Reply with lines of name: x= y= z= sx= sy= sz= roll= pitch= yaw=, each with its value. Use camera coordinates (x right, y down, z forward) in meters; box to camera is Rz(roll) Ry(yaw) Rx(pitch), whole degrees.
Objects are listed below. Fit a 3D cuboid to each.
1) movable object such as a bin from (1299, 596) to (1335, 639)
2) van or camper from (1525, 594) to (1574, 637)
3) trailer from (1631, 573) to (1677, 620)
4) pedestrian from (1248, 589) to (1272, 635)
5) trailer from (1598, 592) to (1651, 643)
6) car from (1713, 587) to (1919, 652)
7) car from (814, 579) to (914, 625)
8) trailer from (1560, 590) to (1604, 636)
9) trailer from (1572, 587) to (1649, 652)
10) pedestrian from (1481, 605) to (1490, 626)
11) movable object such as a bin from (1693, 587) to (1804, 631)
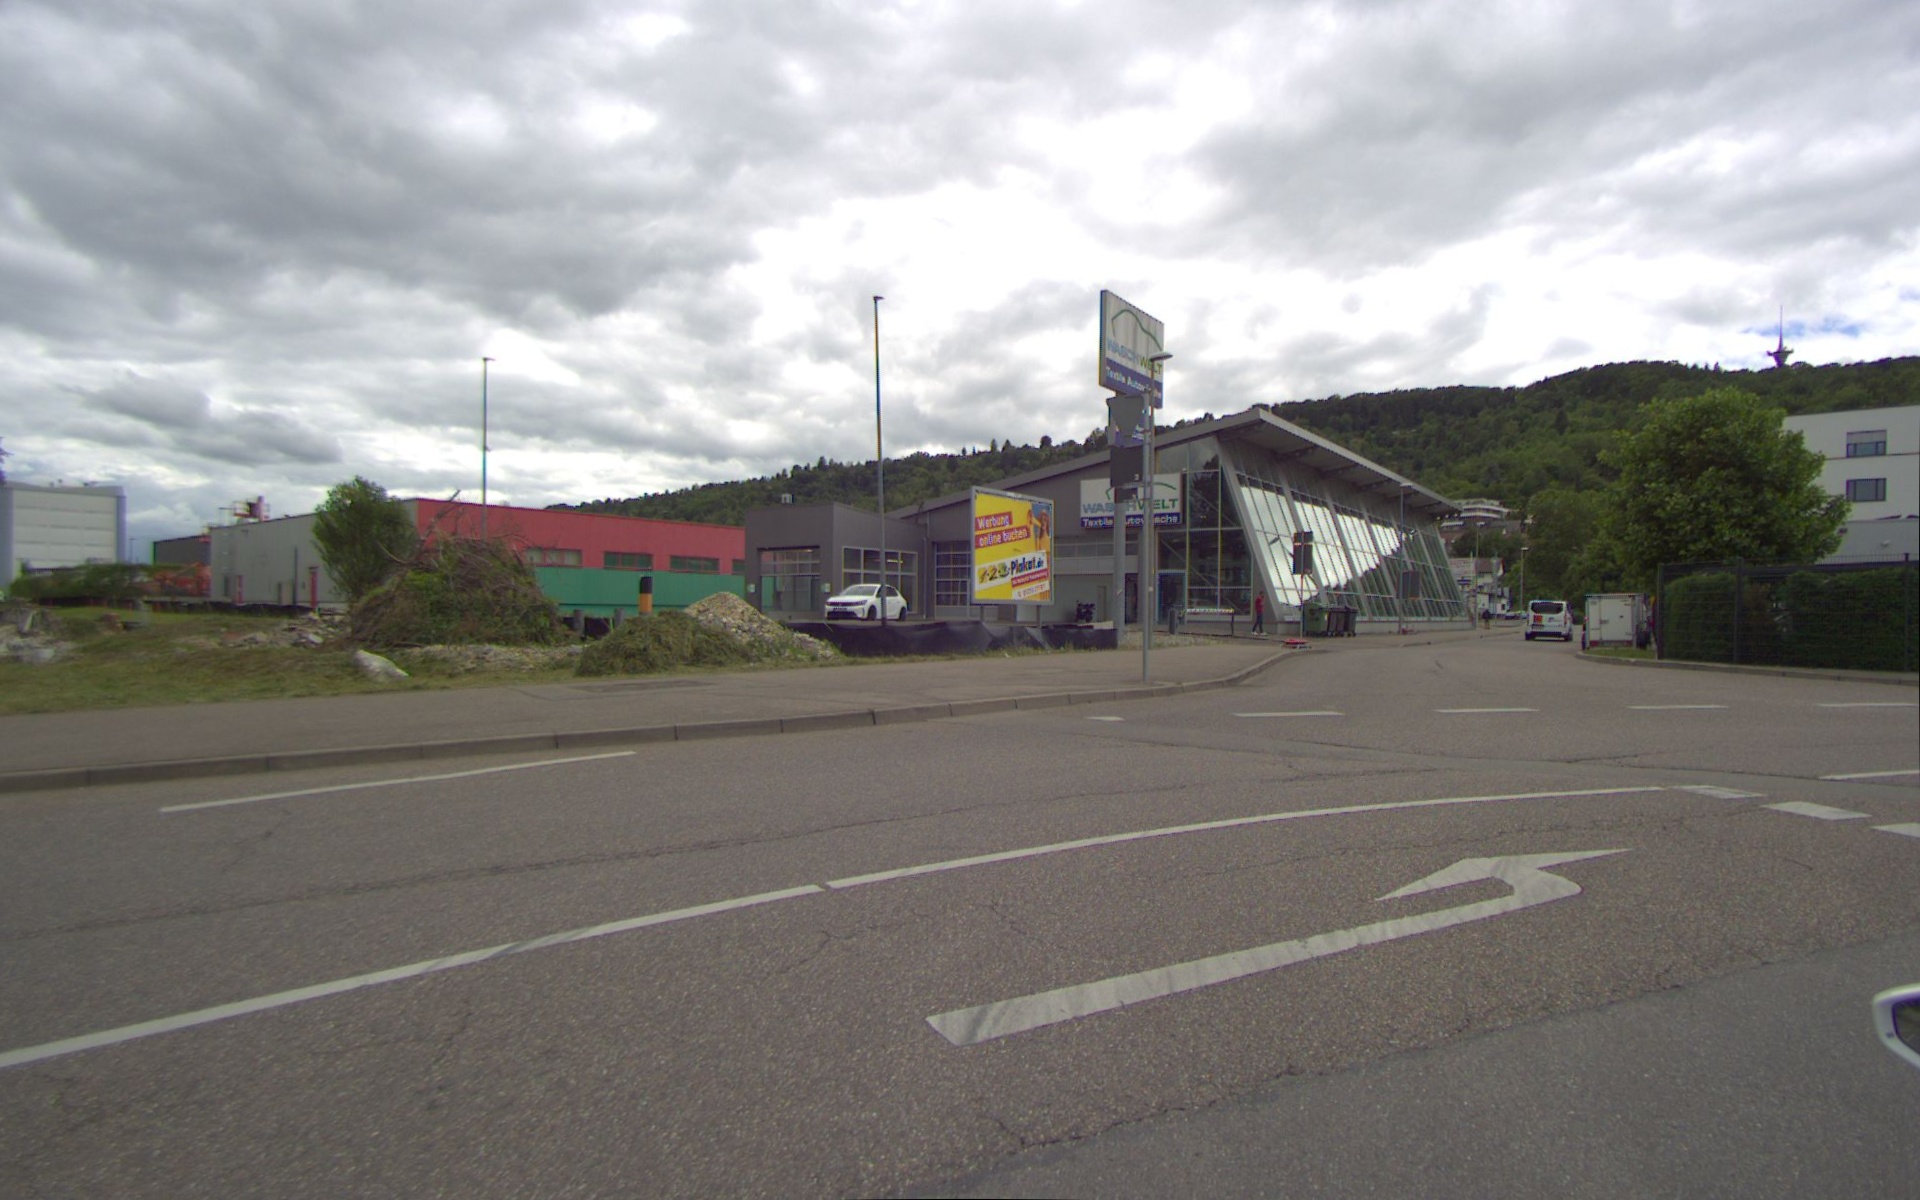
movable object such as a bin: x=15.027 y=0.736 z=42.271 sx=1.128 sy=1.780 sz=1.054 roll=0 pitch=-1 yaw=38
van or camper: x=30.421 y=0.801 z=51.776 sx=2.069 sy=2.111 sz=4.195 roll=0 pitch=-1 yaw=32
trailer: x=58.392 y=-0.284 z=84.500 sx=3.028 sy=3.810 sz=4.916 roll=1 pitch=1 yaw=36
pedestrian: x=12.440 y=0.484 z=41.663 sx=0.811 sy=1.893 sz=0.719 roll=-1 pitch=0 yaw=8
trailer: x=32.082 y=0.790 z=48.472 sx=1.967 sy=2.375 sz=3.986 roll=1 pitch=1 yaw=36
car: x=23.986 y=0.508 z=28.367 sx=4.175 sy=1.692 sz=2.068 roll=0 pitch=0 yaw=33
car: x=-3.367 y=0.054 z=36.005 sx=1.961 sy=1.556 sz=3.998 roll=0 pitch=0 yaw=22
trailer: x=42.118 y=0.838 z=67.959 sx=2.249 sy=2.993 sz=3.986 roll=1 pitch=1 yaw=36
trailer: x=21.997 y=0.593 z=33.919 sx=1.967 sy=2.041 sz=3.986 roll=1 pitch=1 yaw=36
pedestrian: x=42.938 y=1.257 z=82.041 sx=0.619 sy=1.695 sz=0.756 roll=0 pitch=0 yaw=33
movable object such as a bin: x=42.330 y=0.478 z=54.081 sx=4.522 sy=2.256 sz=2.075 roll=0 pitch=0 yaw=33
